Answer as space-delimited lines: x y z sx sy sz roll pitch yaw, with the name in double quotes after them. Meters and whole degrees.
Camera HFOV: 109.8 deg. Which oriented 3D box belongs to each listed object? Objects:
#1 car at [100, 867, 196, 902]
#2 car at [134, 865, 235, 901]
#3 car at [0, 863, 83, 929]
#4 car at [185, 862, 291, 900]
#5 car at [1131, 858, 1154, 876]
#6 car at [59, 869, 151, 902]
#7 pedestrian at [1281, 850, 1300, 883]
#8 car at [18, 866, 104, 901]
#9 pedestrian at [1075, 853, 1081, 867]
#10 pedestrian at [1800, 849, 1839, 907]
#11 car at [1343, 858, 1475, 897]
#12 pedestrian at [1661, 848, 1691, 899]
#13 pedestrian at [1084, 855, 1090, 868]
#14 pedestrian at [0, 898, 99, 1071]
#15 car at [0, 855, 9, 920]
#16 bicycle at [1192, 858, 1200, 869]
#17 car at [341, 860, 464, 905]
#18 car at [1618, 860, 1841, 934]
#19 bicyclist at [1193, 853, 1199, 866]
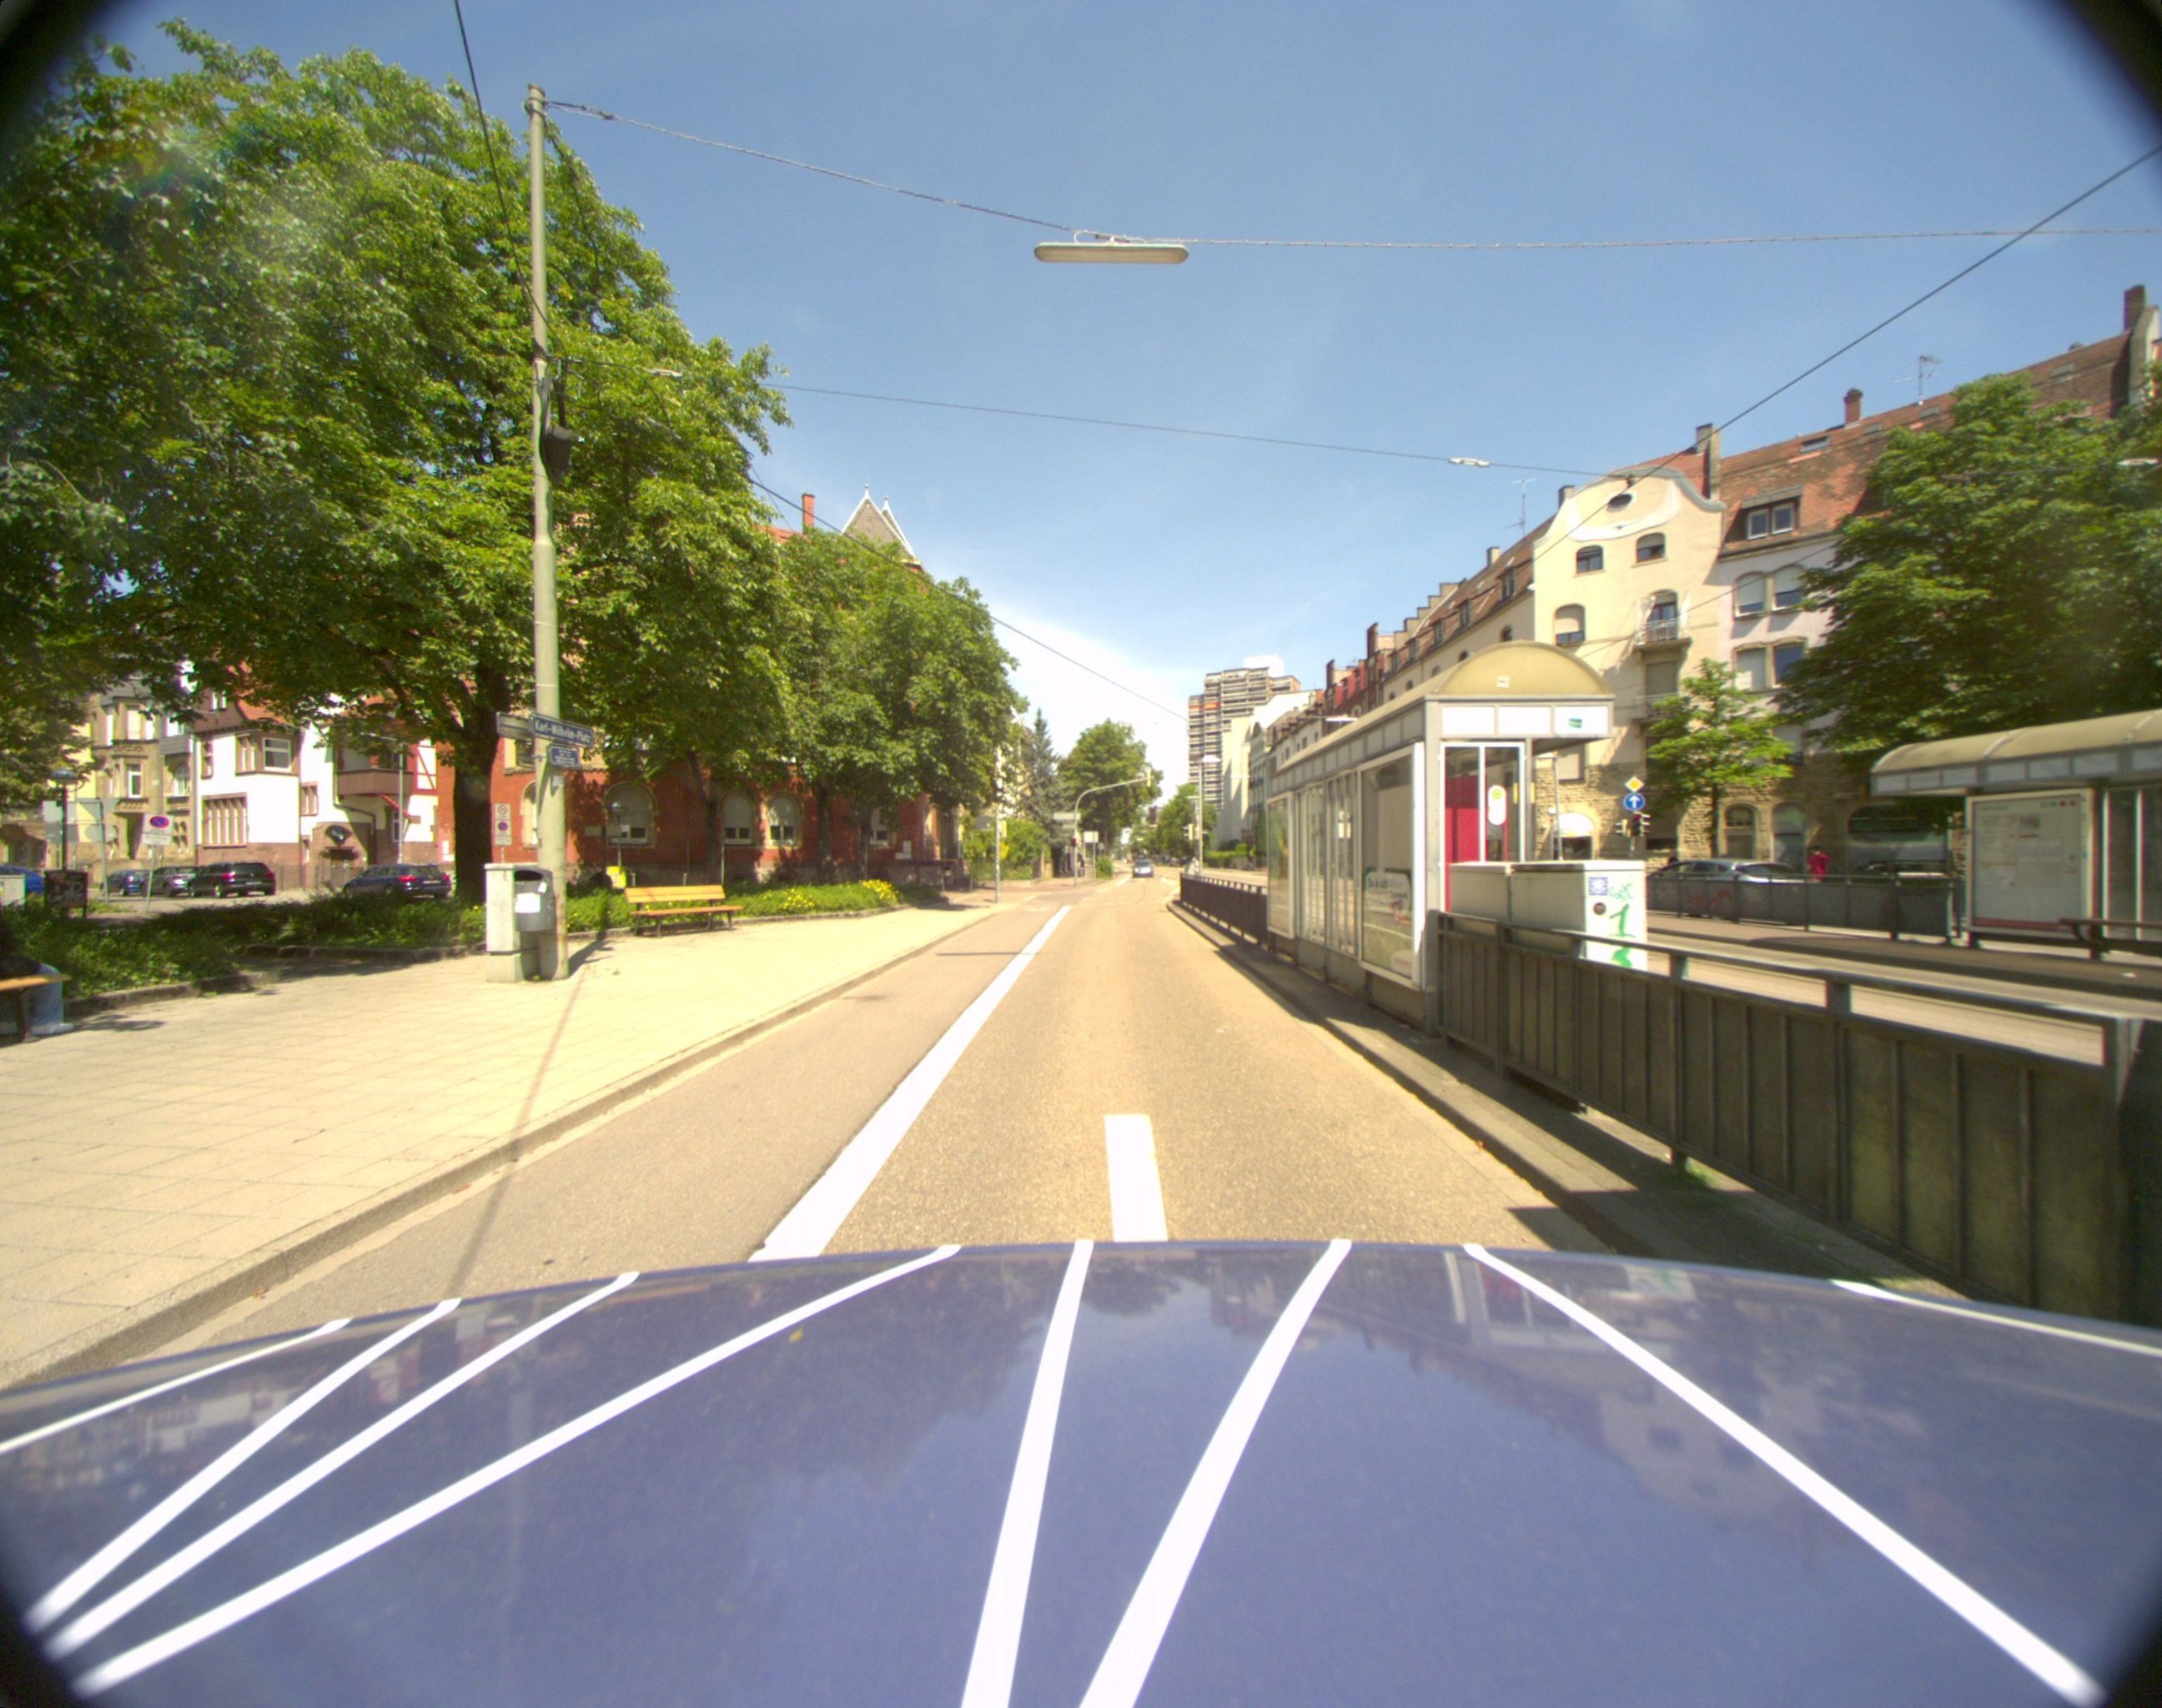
-48.423 1.571 39.438 4.299 1.608 1.941 -2 1 23 "car"
-44.150 1.429 37.416 4.299 1.608 1.941 -2 1 23 "car"
-32.843 1.299 22.032 1.934 1.869 4.315 -2 1 23 "car"
-39.590 1.273 35.671 4.299 1.608 1.941 -2 1 23 "car"
5.202 1.071 64.110 1.895 1.372 4.001 -2 1 5 "car"
-53.024 1.727 41.273 4.299 1.608 1.941 -2 1 23 "car"
11.397 0.670 41.378 0.838 1.813 0.673 0 0 -1 "pedestrian"
-59.179 1.709 44.083 4.299 1.862 1.941 -2 1 23 "car"
-0.359 0.689 90.687 0.702 1.645 0.665 0 0 1 "pedestrian"
19.966 0.643 20.561 0.594 1.542 0.474 0 0 -1 "pedestrian"
14.036 1.001 32.570 5.023 1.474 1.941 -2 1 26 "car"
19.435 0.641 24.817 0.594 1.637 0.474 0 0 5 "pedestrian"
0.762 0.975 102.580 0.686 1.732 0.660 -2 1 3 "pedestrian"
-7.741 0.908 5.424 0.566 1.136 0.725 0 1 -16 "pedestrian"
-37.659 1.199 23.799 1.934 2.178 4.315 -2 1 23 "car"
16.151 1.329 106.793 0.644 1.503 1.970 -2 1 -2 "bicycle"
-27.043 1.130 30.292 4.299 1.608 1.941 -2 1 23 "car"
14.839 0.902 17.734 1.812 1.386 3.999 -2 1 1 "car"
16.120 0.779 106.774 0.644 1.864 0.716 -2 1 -2 "bicyclist"
